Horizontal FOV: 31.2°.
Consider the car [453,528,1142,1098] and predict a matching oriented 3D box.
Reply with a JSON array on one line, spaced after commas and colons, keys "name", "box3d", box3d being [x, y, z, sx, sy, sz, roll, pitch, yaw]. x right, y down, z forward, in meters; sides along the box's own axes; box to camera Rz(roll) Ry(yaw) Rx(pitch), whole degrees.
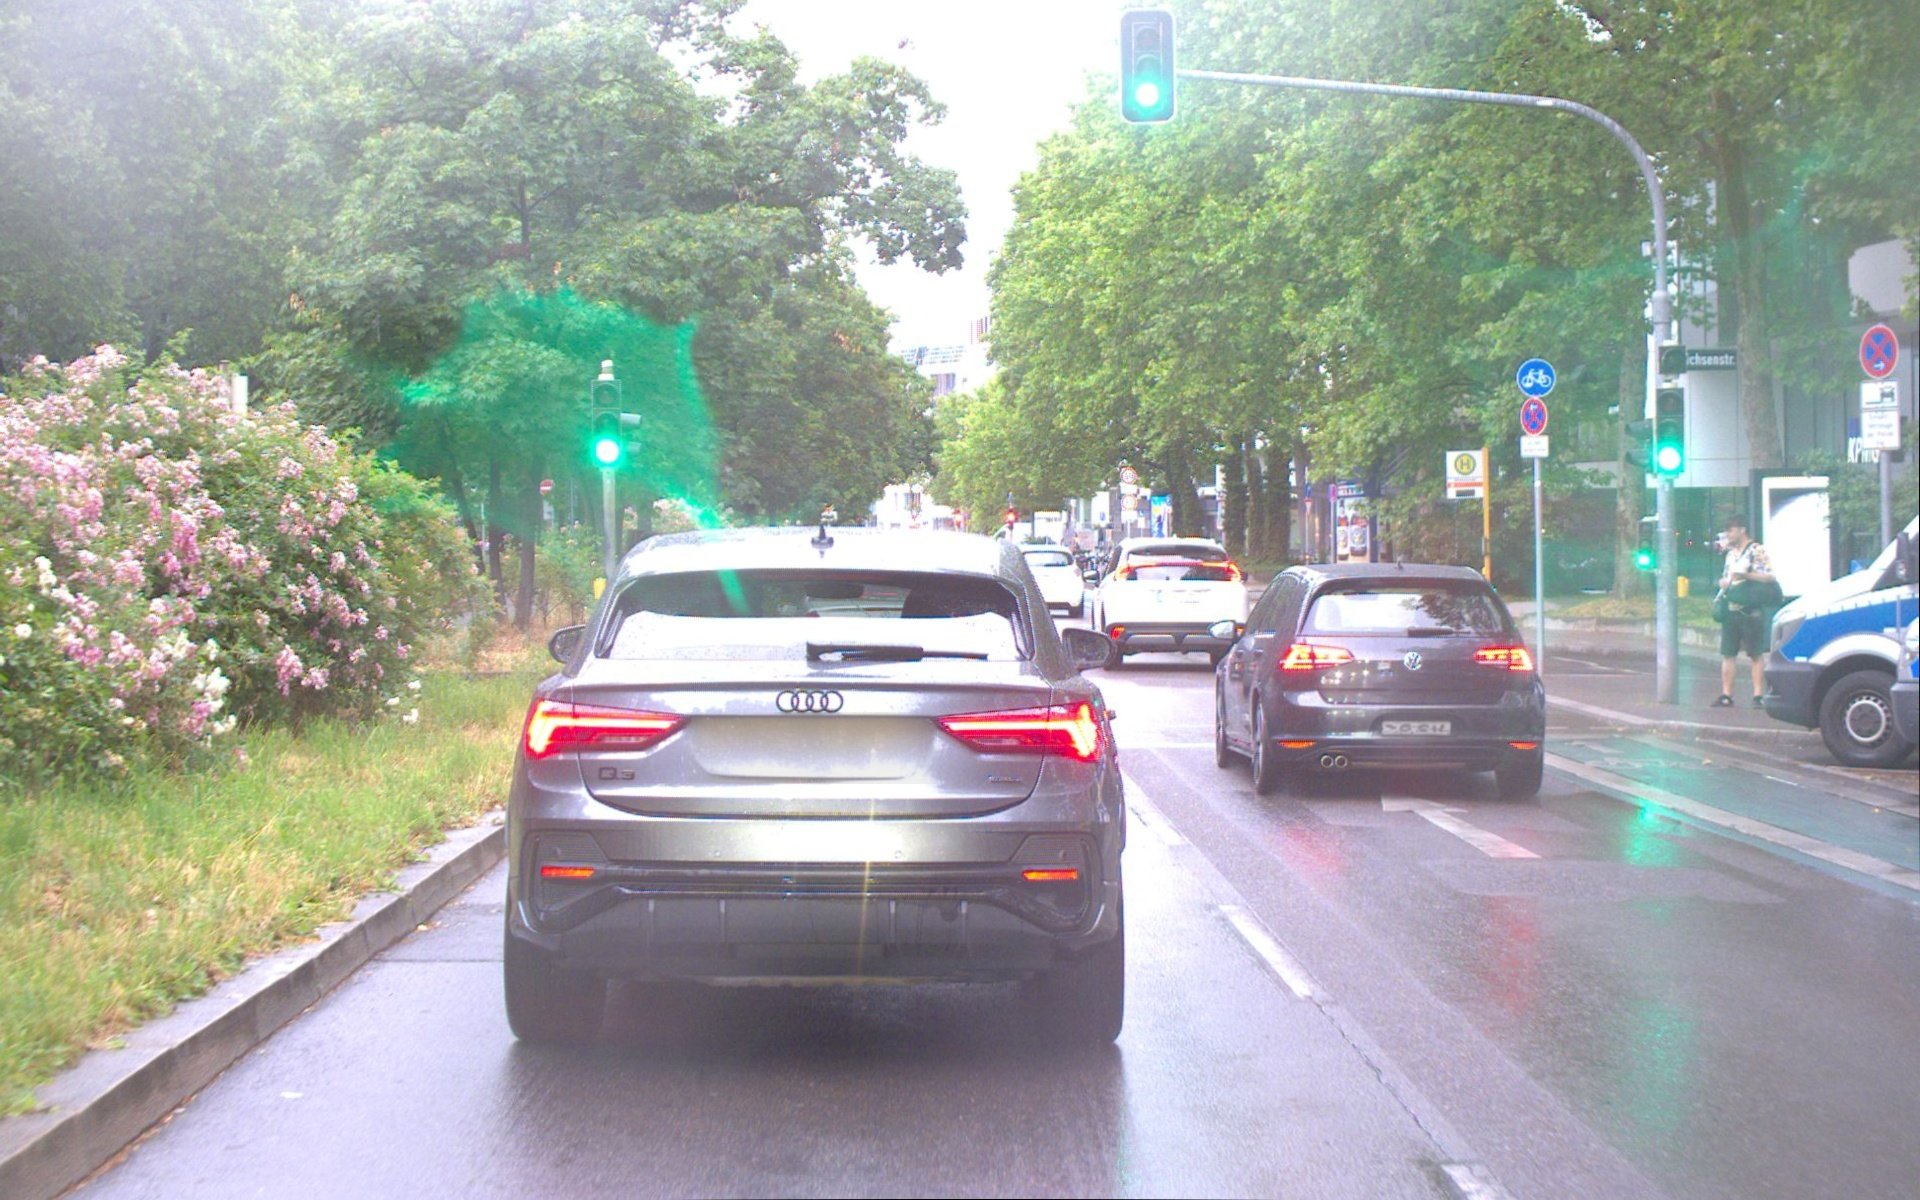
[{"name": "car", "box3d": [-0.415, 0.530, 11.567, 1.863, 1.527, 4.527, 0, 1, 1]}]

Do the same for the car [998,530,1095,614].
[{"name": "car", "box3d": [1.866, -0.631, 75.107, 1.993, 1.744, 4.000, 0, 1, 0]}]

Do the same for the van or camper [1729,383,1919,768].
[{"name": "van or camper", "box3d": [8.477, -0.165, 23.757, 5.810, 2.668, 2.143, 1, 1, 37]}]

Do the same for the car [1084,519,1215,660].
[{"name": "car", "box3d": [2.345, -0.163, 43.047, 1.433, 1.679, 2.979, -1, 1, 0]}]

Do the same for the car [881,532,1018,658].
[{"name": "car", "box3d": [-0.168, -0.106, 45.413, 1.721, 1.572, 3.962, 0, 1, -1]}]

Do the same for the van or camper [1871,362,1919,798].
[{"name": "van or camper", "box3d": [8.582, -0.123, 20.405, 5.804, 2.671, 1.996, 0, 1, 35]}]

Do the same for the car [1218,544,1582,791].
[{"name": "car", "box3d": [2.753, 0.368, 22.319, 1.765, 1.408, 4.000, -1, 1, -1]}]
